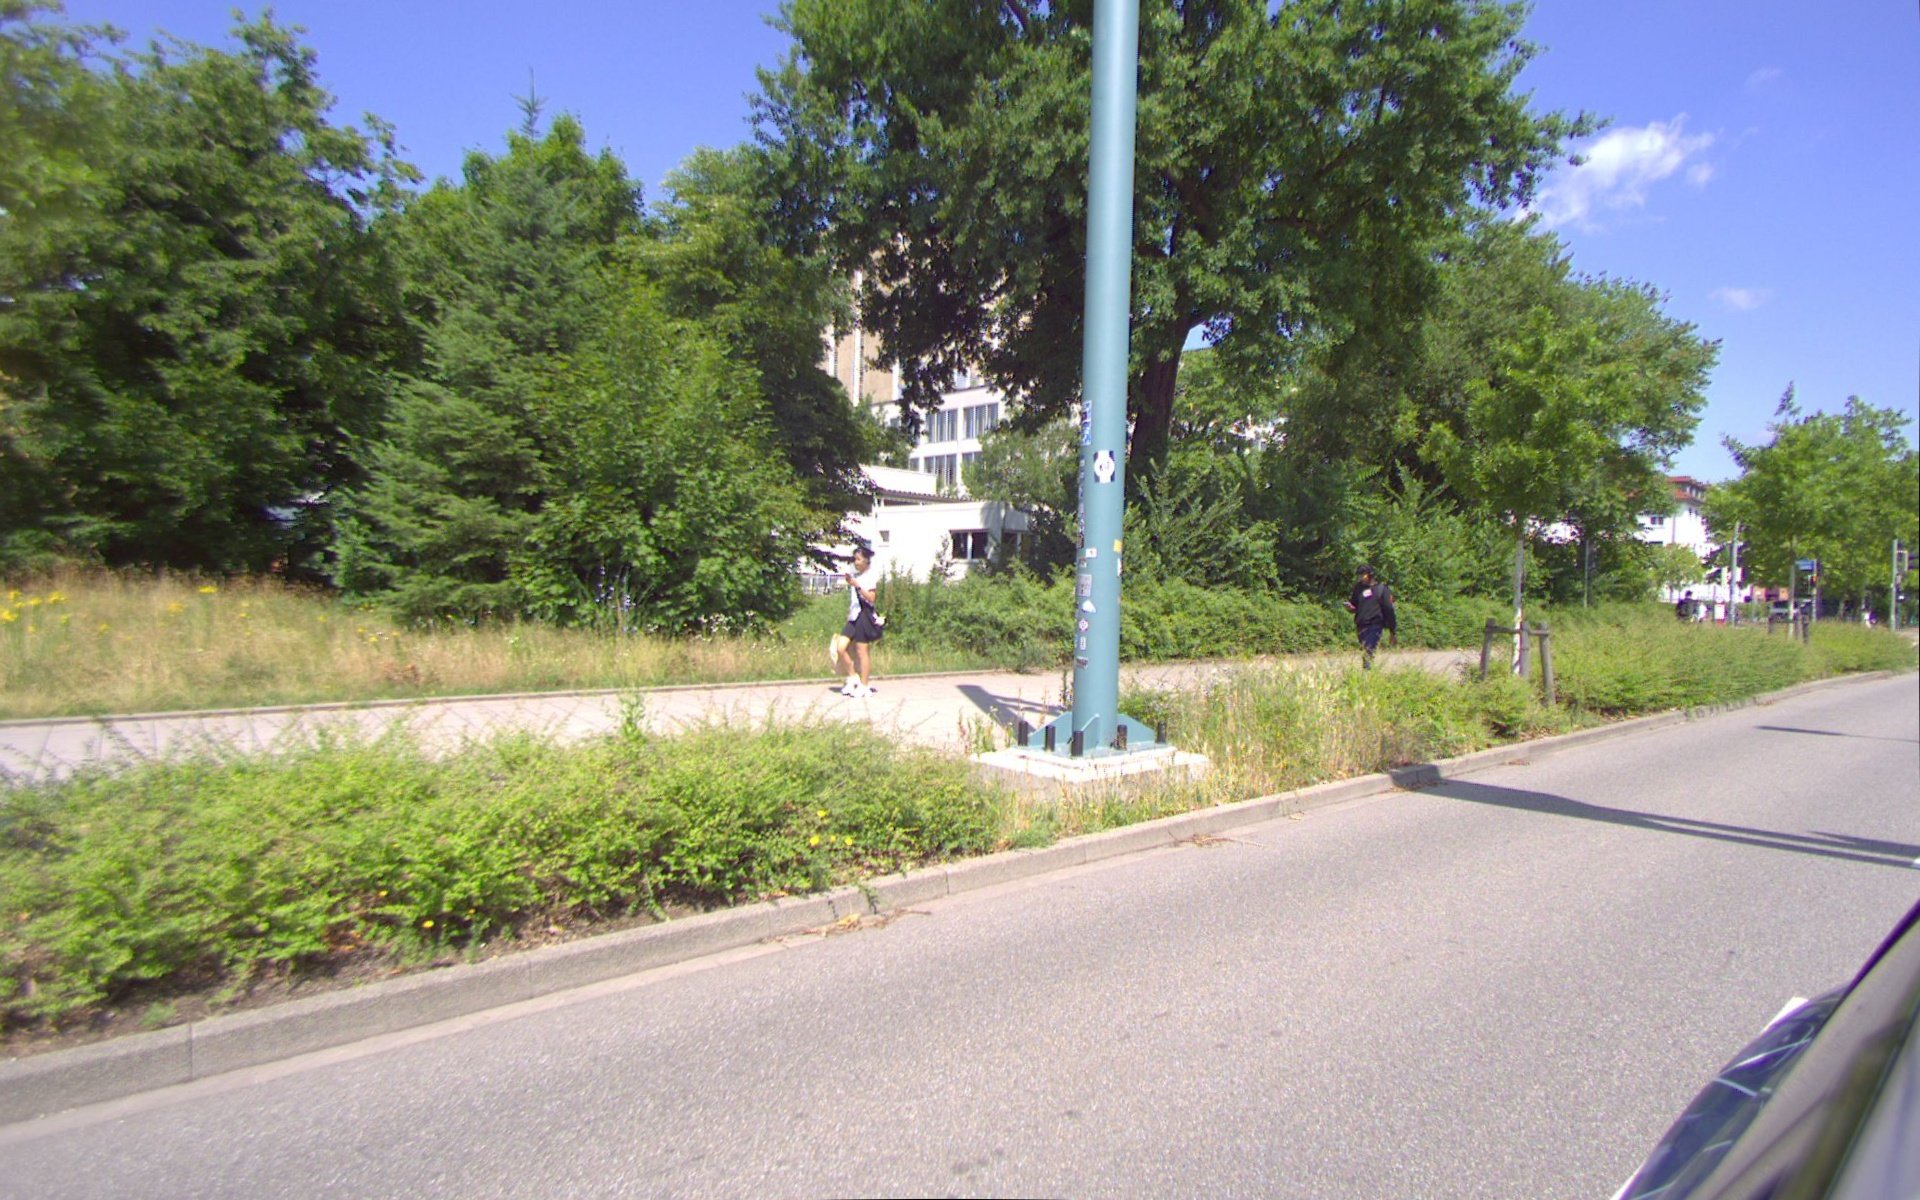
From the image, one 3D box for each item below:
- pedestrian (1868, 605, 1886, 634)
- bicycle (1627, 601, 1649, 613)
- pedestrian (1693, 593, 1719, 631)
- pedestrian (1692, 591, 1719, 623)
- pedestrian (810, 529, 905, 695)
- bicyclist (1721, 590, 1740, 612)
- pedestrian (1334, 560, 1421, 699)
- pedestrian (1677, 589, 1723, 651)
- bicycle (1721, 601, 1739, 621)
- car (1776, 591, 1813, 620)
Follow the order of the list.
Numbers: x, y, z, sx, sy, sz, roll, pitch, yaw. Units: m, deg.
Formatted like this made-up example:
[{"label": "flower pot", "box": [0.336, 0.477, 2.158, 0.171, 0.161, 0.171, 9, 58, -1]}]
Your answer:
[{"label": "pedestrian", "box": [48.101, 1.010, 53.100, 0.586, 1.523, 0.412, 1, 0, 31]}, {"label": "bicycle", "box": [56.069, 0.564, 83.690, 1.424, 0.963, 0.346, 2, 1, 44]}, {"label": "pedestrian", "box": [38.032, 0.591, 51.589, 0.956, 1.896, 0.876, 1, 1, -45]}, {"label": "pedestrian", "box": [46.167, 0.434, 62.665, 0.952, 1.950, 1.033, 1, 1, -30]}, {"label": "pedestrian", "box": [-1.131, 0.117, 11.157, 0.733, 1.743, 0.724, 1, 1, -39]}, {"label": "bicyclist", "box": [51.937, 0.049, 68.226, 0.966, 1.462, 1.063, 2, 1, 36]}, {"label": "pedestrian", "box": [5.440, 0.361, 13.198, 0.822, 1.743, 0.718, 1, 1, -39]}, {"label": "pedestrian", "box": [21.254, 0.562, 29.069, 0.913, 1.743, 0.815, 1, 1, -39]}, {"label": "bicycle", "box": [52.027, 0.721, 68.364, 0.880, 1.267, 2.137, 2, 1, 36]}, {"label": "car", "box": [63.106, 0.386, 76.505, 1.992, 2.080, 4.166, 2, 1, 41]}]
